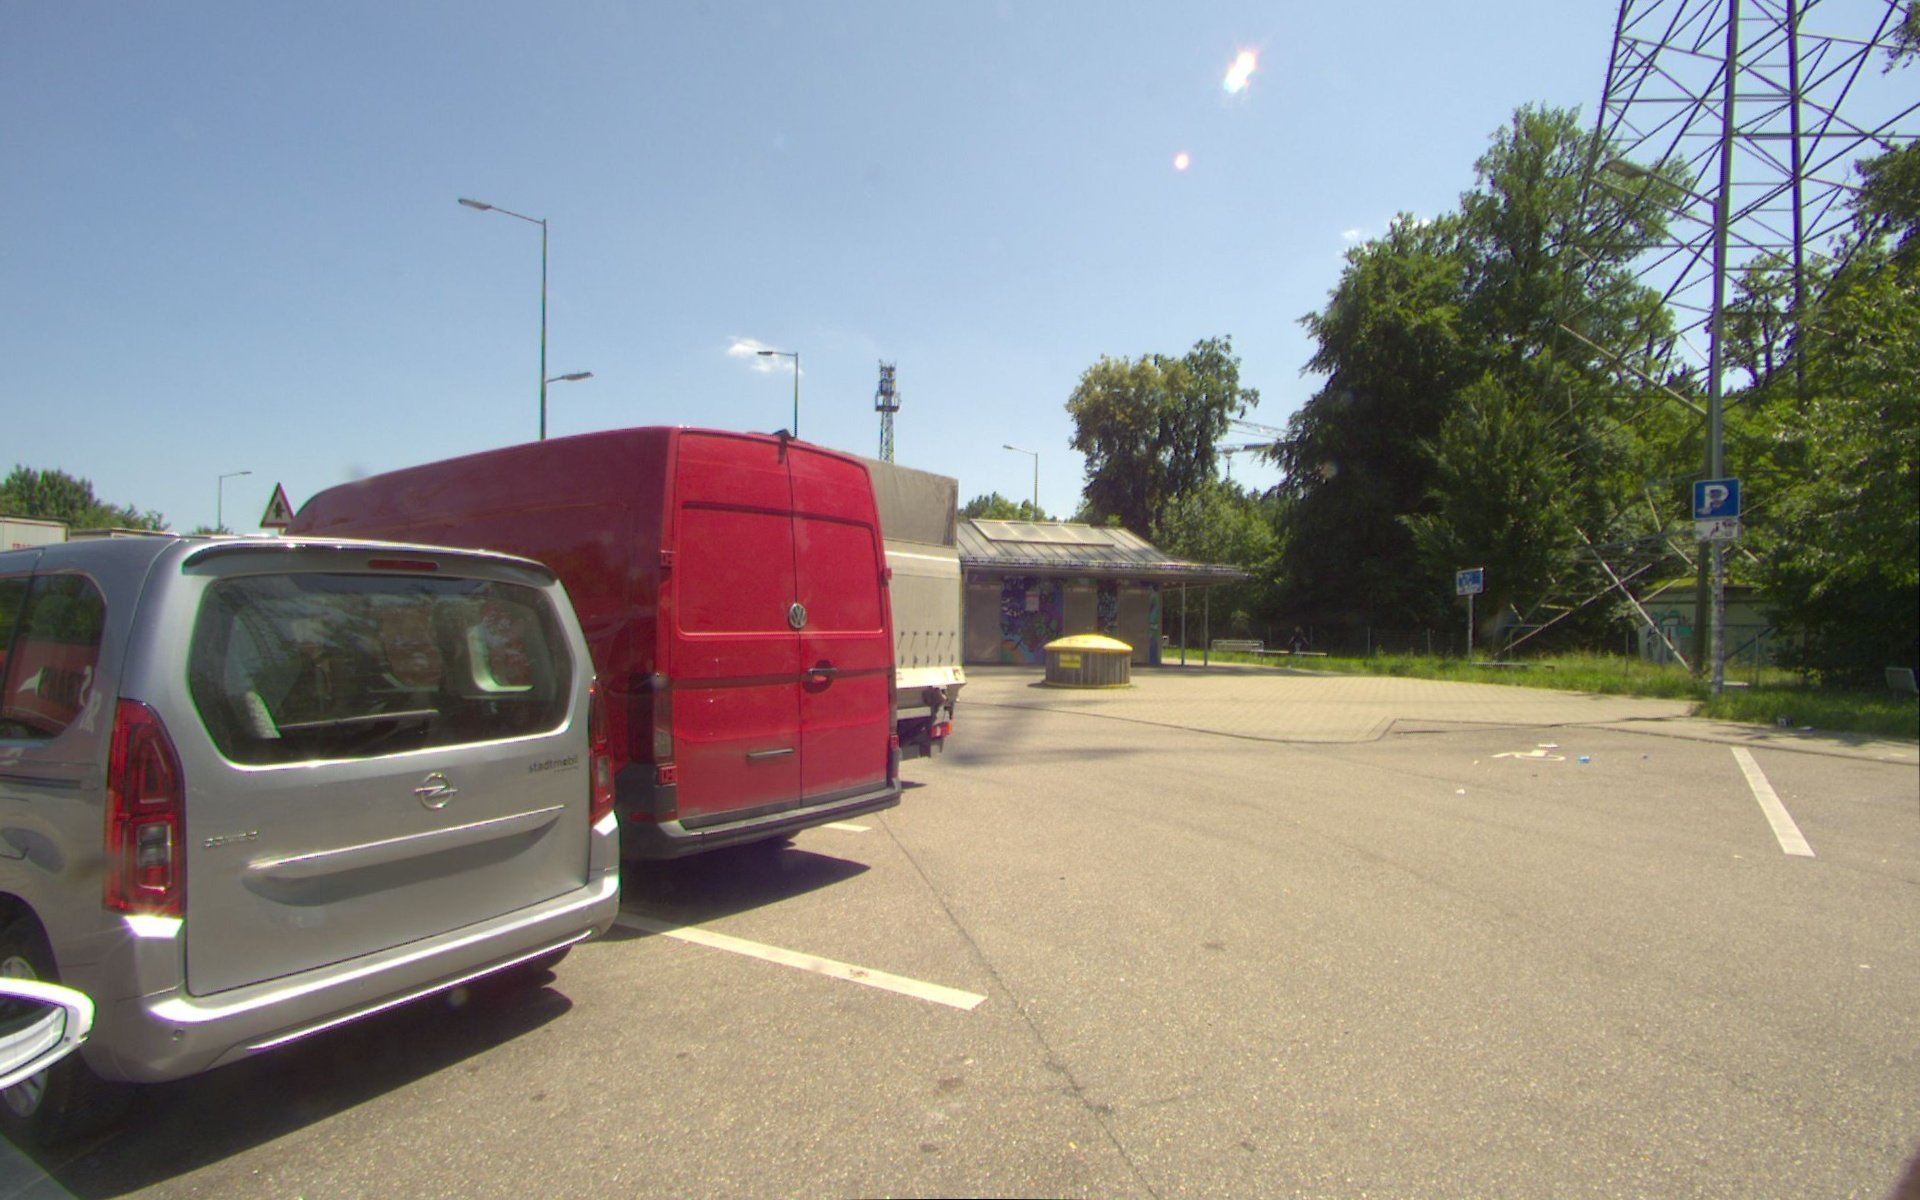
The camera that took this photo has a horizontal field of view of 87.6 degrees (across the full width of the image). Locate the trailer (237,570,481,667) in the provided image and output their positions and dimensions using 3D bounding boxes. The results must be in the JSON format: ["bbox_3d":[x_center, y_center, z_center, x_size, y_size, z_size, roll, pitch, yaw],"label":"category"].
[{"bbox_3d":[-26.078,0.648,42.898,14.184,3.552,2.808,2,-2,33],"label":"trailer"}]

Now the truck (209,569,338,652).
[{"bbox_3d":[-32.072,0.468,46.756,5.813,3.566,2.799,2,-2,33],"label":"truck"}]

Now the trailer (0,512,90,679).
[{"bbox_3d":[-28.994,-0.259,28.137,14.184,4.040,2.808,2,-2,33],"label":"trailer"}]

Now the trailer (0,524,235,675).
[{"bbox_3d":[-27.931,-0.101,31.783,14.184,4.040,2.808,2,-2,33],"label":"trailer"}]

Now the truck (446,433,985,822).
[{"bbox_3d":[-2.715,0.307,10.284,5.581,2.949,2.449,-2,-2,37],"label":"truck"}]

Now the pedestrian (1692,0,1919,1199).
[{"bbox_3d":[0.968,0.598,0.565,0.853,1.857,0.856,-1,-1,35],"label":"pedestrian"}]

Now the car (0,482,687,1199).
[{"bbox_3d":[-3.359,0.689,4.245,4.113,1.887,1.868,1,-2,31],"label":"car"}]

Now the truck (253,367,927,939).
[{"bbox_3d":[-2.866,0.339,7.045,5.238,2.655,1.972,-2,-2,38],"label":"truck"}]

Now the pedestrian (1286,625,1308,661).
[{"bbox_3d":[15.839,2.025,47.037,0.723,1.658,0.792,0,-1,-4],"label":"pedestrian"}]
